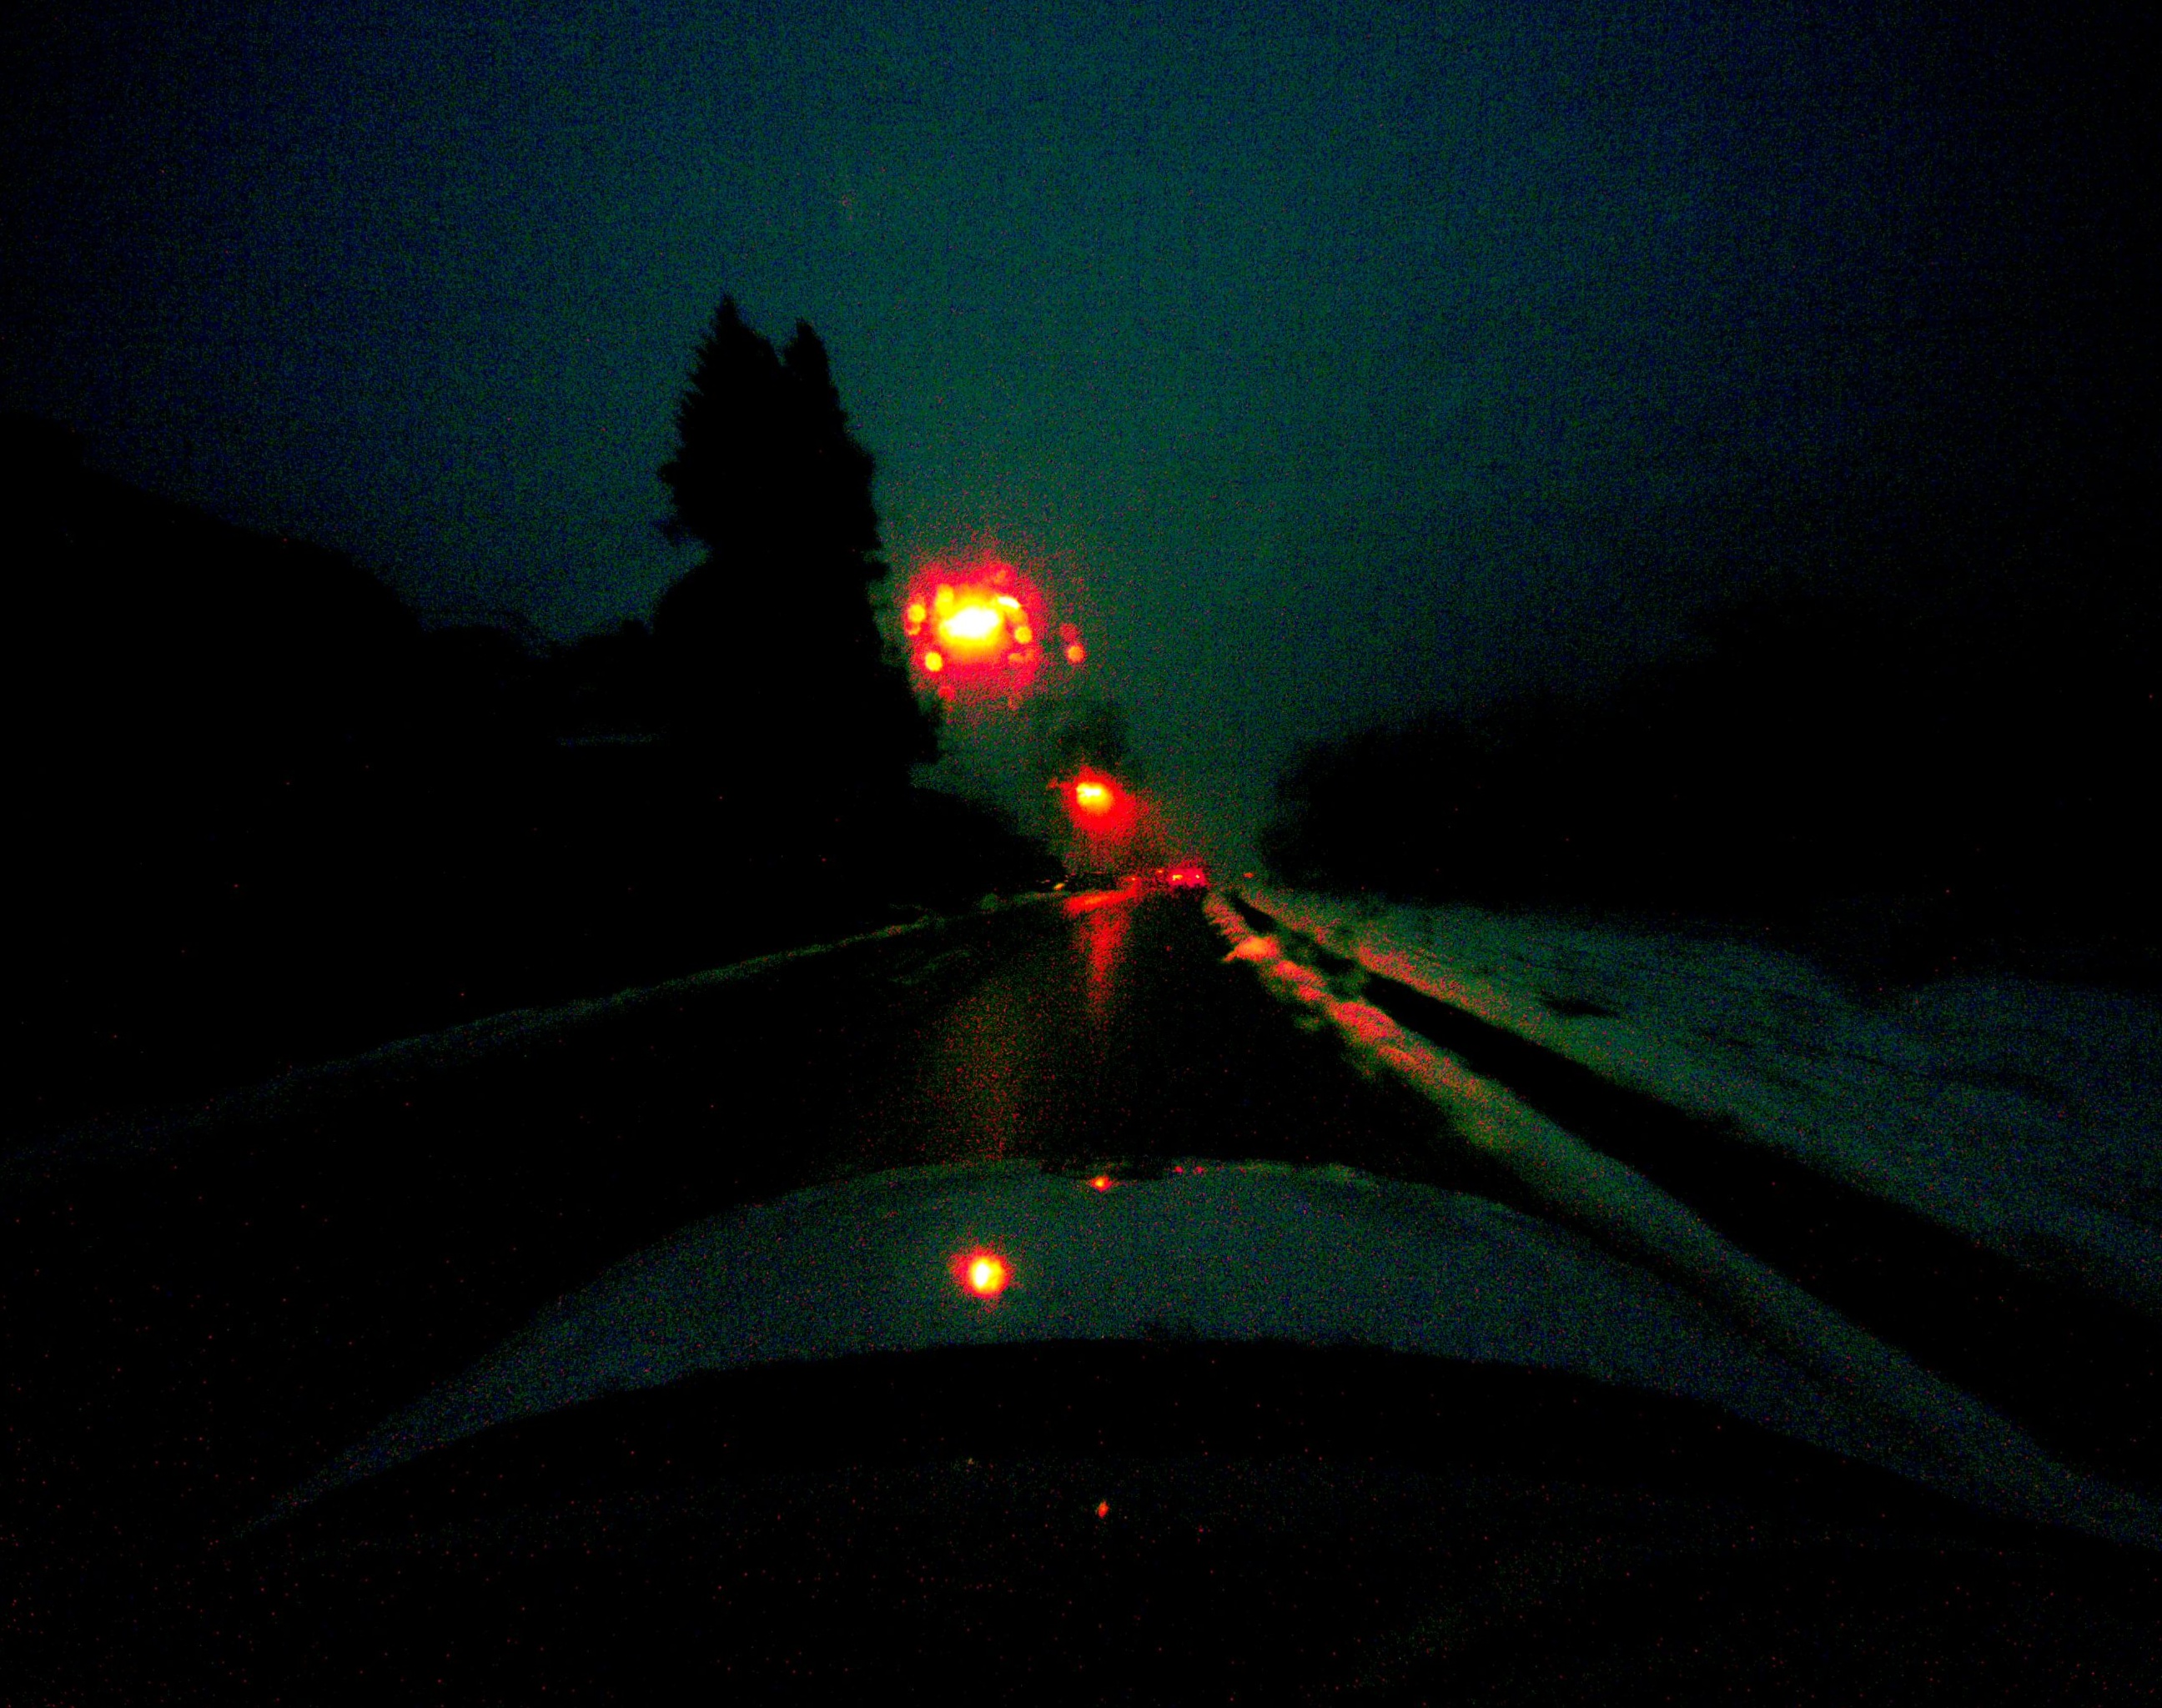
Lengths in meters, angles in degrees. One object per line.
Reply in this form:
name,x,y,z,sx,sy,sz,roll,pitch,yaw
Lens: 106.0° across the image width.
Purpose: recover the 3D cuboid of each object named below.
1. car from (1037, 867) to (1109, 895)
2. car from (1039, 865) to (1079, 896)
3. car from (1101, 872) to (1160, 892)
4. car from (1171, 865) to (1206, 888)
car,-0.502,1.782,53.755,4.506,1.566,2.113,-3,-3,4
car,-1.359,1.584,48.031,1.990,1.566,4.988,-4,-3,-5
car,4.423,2.483,72.345,4.854,1.485,2.130,-4,-3,12
car,6.959,1.436,52.411,1.980,1.420,4.012,-1,-1,12
